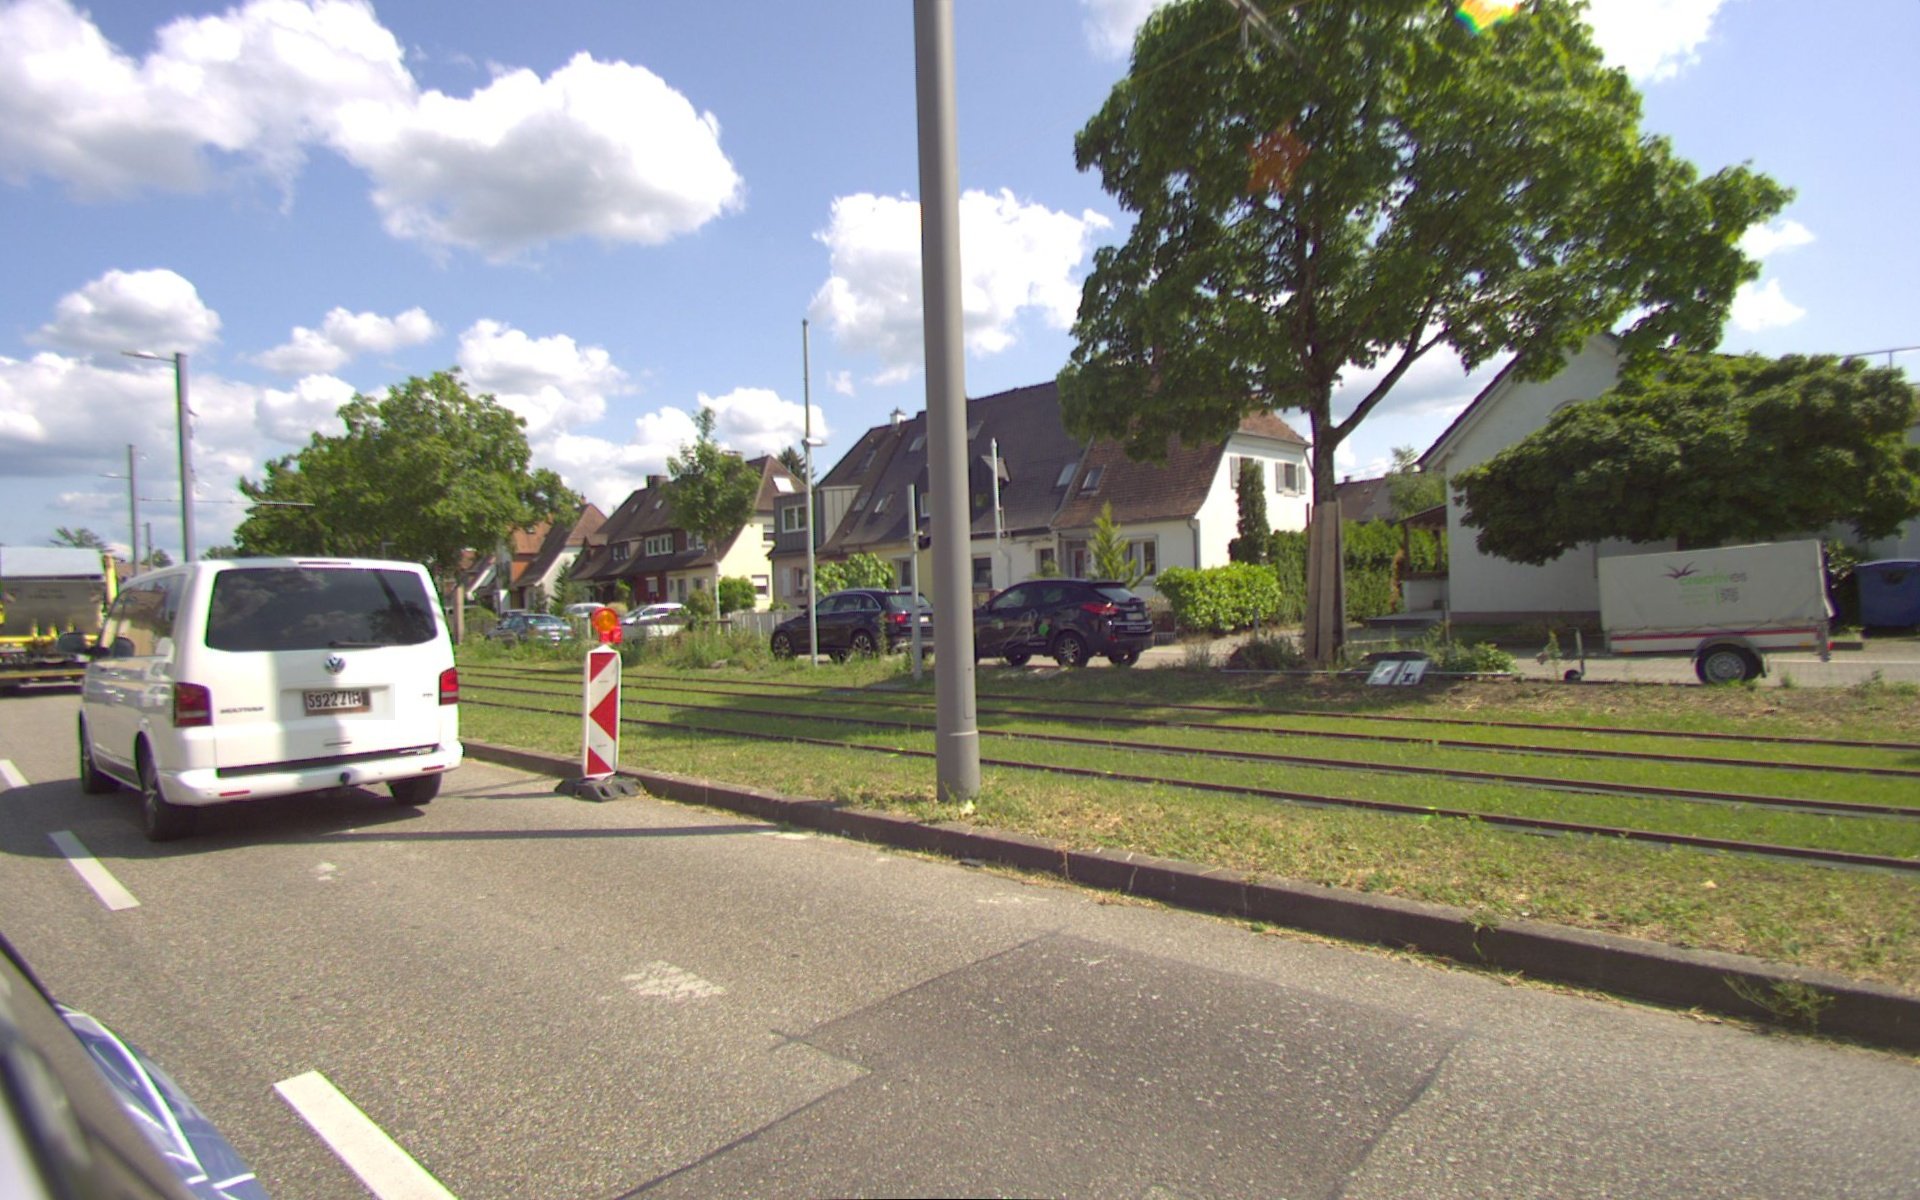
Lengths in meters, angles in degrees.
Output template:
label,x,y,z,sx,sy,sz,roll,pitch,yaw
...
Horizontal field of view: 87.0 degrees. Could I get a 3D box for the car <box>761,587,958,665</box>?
label,x,y,z,sx,sy,sz,roll,pitch,yaw
car,-2.313,0.555,22.546,4.321,1.551,1.972,-1,0,42

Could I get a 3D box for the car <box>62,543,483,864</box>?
label,x,y,z,sx,sy,sz,roll,pitch,yaw
car,-5.909,0.698,8.439,4.560,1.957,1.919,-2,-2,43

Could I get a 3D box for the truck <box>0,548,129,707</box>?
label,x,y,z,sx,sy,sz,roll,pitch,yaw
truck,-22.739,0.687,25.089,2.665,3.391,8.055,-1,-1,-44

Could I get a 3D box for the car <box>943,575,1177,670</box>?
label,x,y,z,sx,sy,sz,roll,pitch,yaw
car,1.807,0.509,19.132,4.099,1.590,1.885,-4,-4,42

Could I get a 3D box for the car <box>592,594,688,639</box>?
label,x,y,z,sx,sy,sz,roll,pitch,yaw
car,-15.533,0.788,49.190,3.940,2.029,2.002,-1,0,-44

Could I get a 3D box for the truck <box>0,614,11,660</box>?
label,x,y,z,sx,sy,sz,roll,pitch,yaw
truck,-62.596,2.421,64.108,2.492,2.970,7.880,-1,0,-35

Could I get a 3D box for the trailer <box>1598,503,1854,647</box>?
label,x,y,z,sx,sy,sz,roll,pitch,yaw
trailer,8.992,-0.246,11.942,2.281,1.530,1.286,-2,0,41

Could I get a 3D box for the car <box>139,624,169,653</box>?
label,x,y,z,sx,sy,sz,roll,pitch,yaw
car,-71.105,3.382,89.276,1.669,2.450,3.584,-2,0,-33

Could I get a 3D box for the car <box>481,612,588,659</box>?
label,x,y,z,sx,sy,sz,roll,pitch,yaw
car,-15.172,1.229,35.977,4.324,1.551,1.971,-1,0,44
